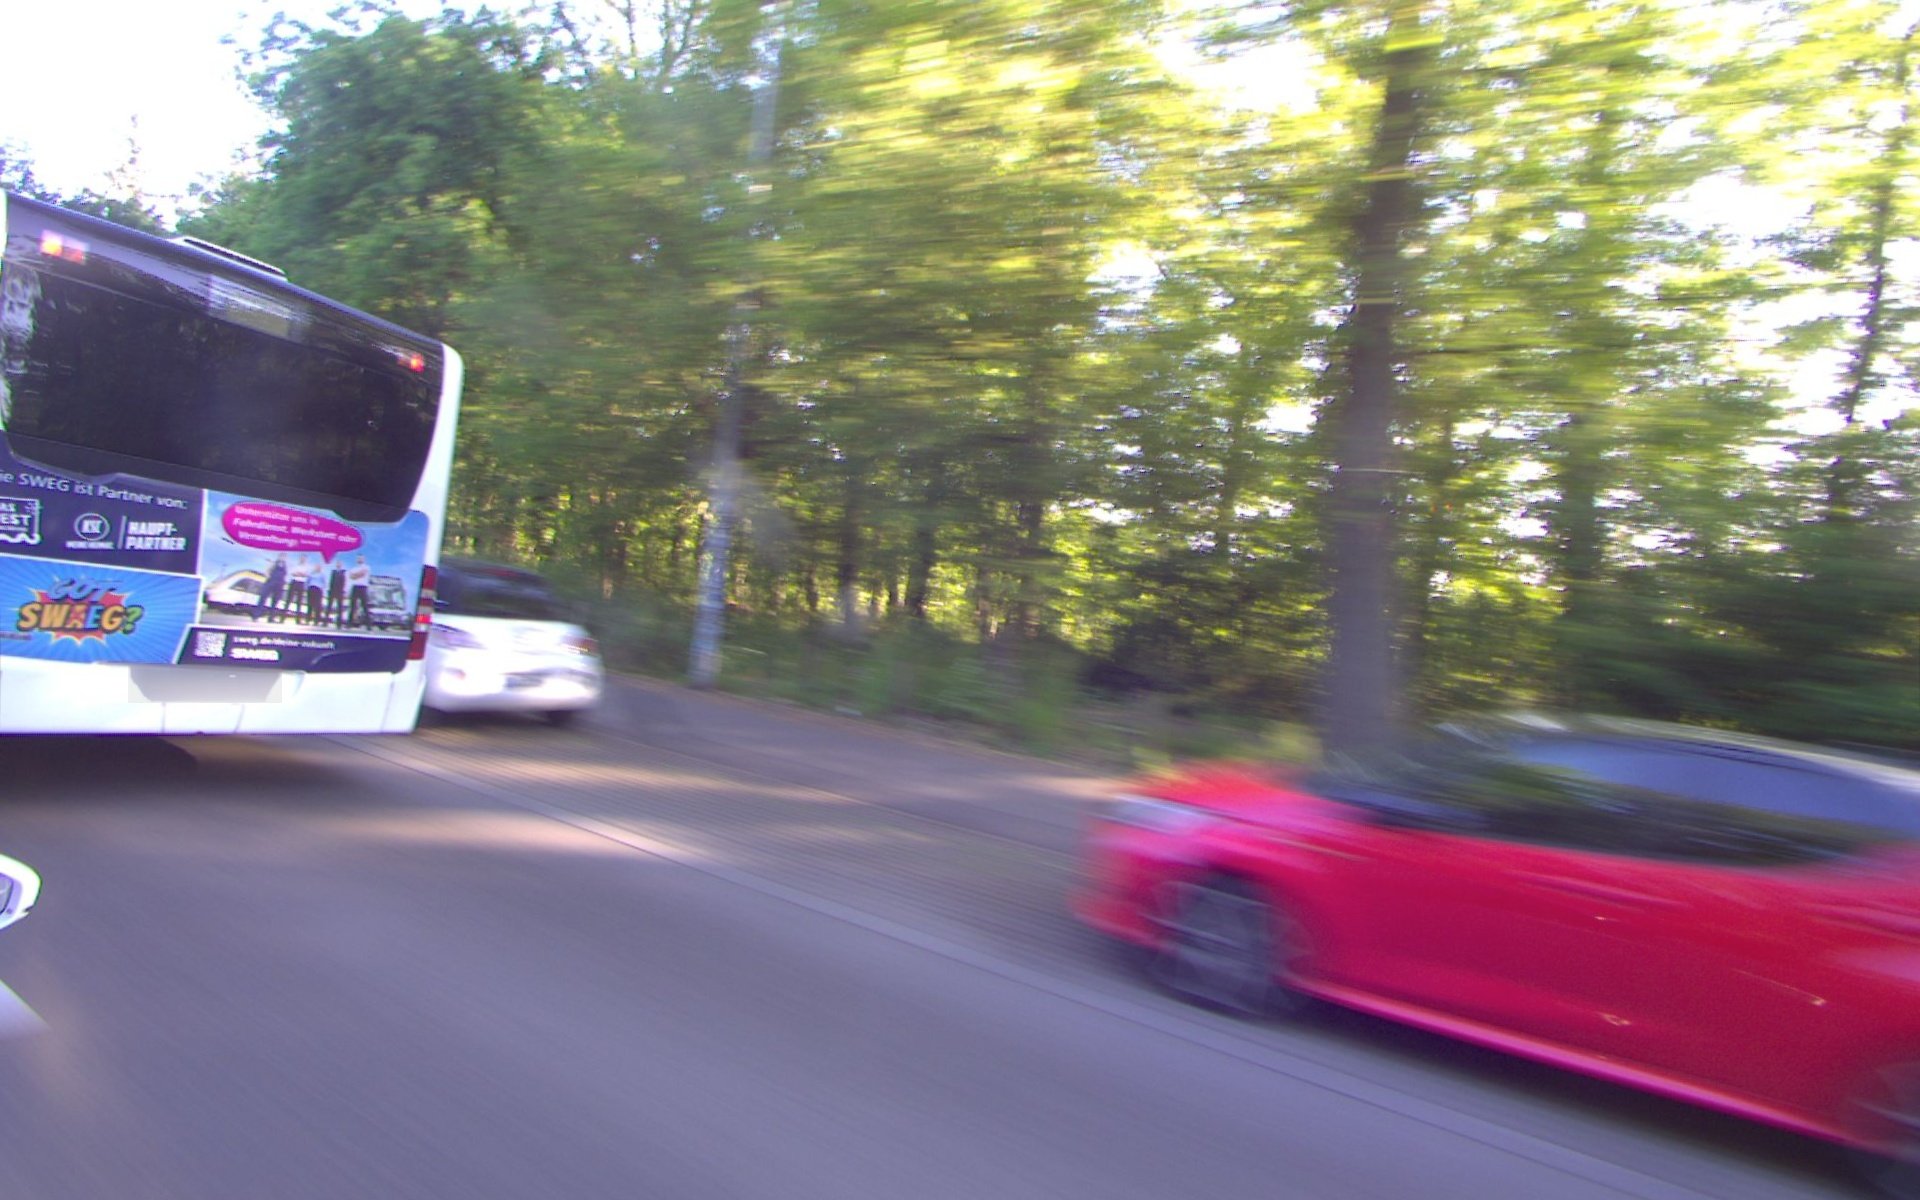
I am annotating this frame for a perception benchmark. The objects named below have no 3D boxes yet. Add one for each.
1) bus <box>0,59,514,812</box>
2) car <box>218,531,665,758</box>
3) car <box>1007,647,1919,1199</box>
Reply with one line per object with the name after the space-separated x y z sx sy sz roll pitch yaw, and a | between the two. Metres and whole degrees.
-8.779 -1.171 8.461 12.077 3.261 2.708 7 -1 32 | bus
-5.022 0.299 9.583 4.212 1.475 1.853 7 2 32 | car
2.636 1.223 4.521 4.387 1.475 1.854 7 2 30 | car
